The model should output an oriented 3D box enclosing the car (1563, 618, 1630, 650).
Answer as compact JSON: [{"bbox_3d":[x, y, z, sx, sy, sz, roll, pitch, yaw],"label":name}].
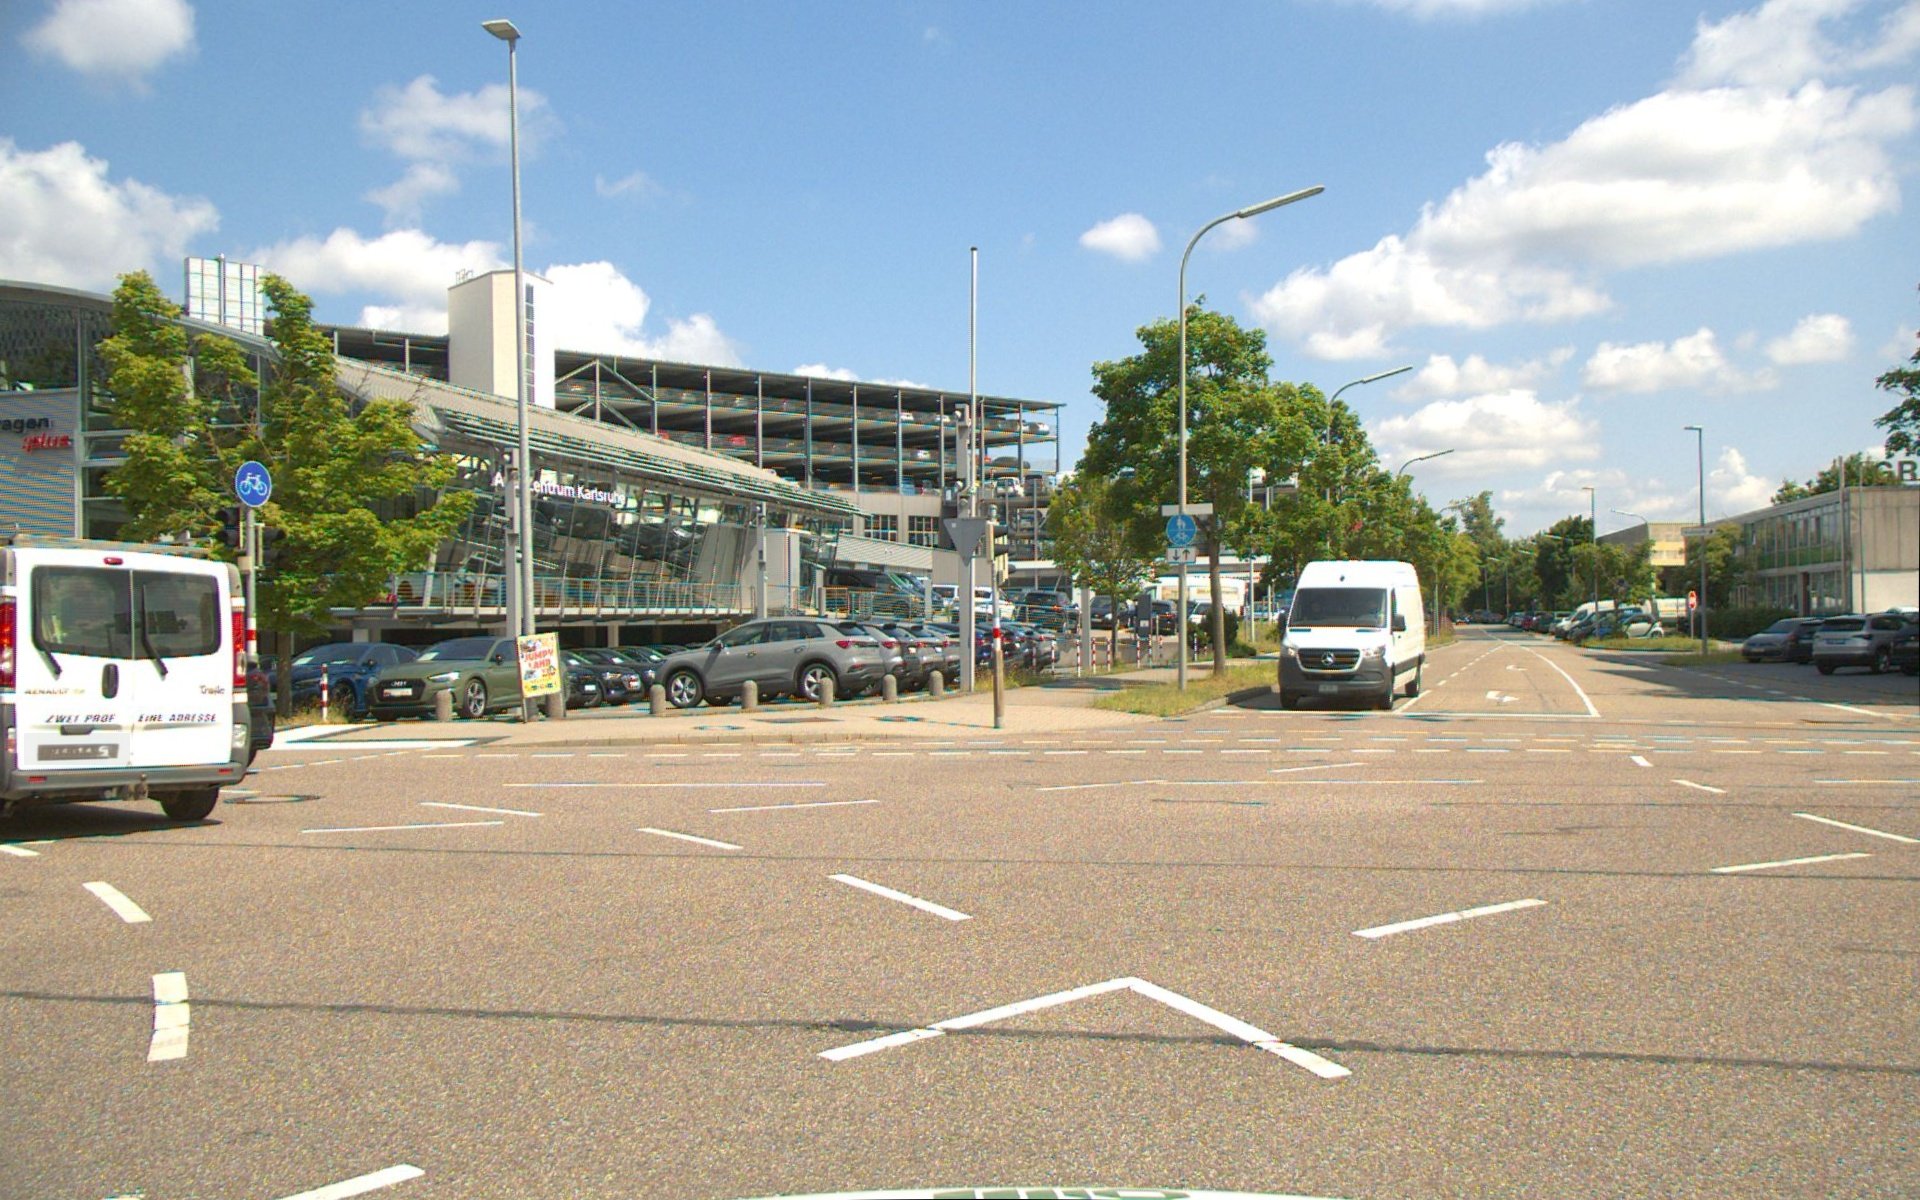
[{"bbox_3d":[42.767,2.260,111.250,3.902,2.049,2.002,1,-1,10],"label":"car"}]

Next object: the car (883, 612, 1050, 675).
[{"bbox_3d":[0.201,1.253,47.905,4.477,1.707,1.908,1,-1,15],"label":"car"}]

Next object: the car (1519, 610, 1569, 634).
[{"bbox_3d":[51.827,1.968,146.857,3.902,2.049,2.002,1,-1,10],"label":"car"}]

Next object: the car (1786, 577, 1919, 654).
[{"bbox_3d":[25.061,0.437,45.370,3.902,2.049,2.002,1,-1,10],"label":"car"}]

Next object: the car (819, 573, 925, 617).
[{"bbox_3d":[-3.883,-0.215,73.107,4.346,1.833,1.766,1,-1,12],"label":"car"}]

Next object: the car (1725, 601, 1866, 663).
[{"bbox_3d":[28.632,1.099,56.811,3.902,2.049,2.002,1,-1,10],"label":"car"}]

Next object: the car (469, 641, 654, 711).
[{"bbox_3d":[-10.803,2.031,45.012,4.441,1.771,2.002,1,-1,11],"label":"car"}]

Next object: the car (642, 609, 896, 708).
[{"bbox_3d":[-3.702,1.142,32.211,4.477,1.707,1.908,-3,-2,15],"label":"car"}]

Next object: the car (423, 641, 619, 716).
[{"bbox_3d":[-11.278,1.996,42.605,4.441,1.771,2.002,1,-1,12],"label":"car"}]

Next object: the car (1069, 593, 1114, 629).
[{"bbox_3d":[6.034,0.523,75.524,1.527,1.579,3.605,1,-1,13],"label":"car"}]

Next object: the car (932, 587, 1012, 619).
[{"bbox_3d":[0.633,0.158,84.603,3.902,1.579,1.766,1,-1,6],"label":"car"}]

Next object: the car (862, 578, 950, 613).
[{"bbox_3d":[-2.532,-0.223,78.074,3.902,1.579,1.766,1,-1,6],"label":"car"}]

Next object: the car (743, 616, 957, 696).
[{"bbox_3d":[-2.491,1.245,37.714,4.477,1.707,1.908,1,-1,15],"label":"car"}]

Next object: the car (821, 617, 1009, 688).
[{"bbox_3d":[-1.146,1.343,42.746,4.477,1.707,1.908,1,-1,15],"label":"car"}]

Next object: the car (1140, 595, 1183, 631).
[{"bbox_3d":[9.043,0.593,74.064,1.527,1.579,3.605,1,-1,13],"label":"car"}]

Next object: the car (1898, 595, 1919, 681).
[{"bbox_3d":[24.882,0.933,39.461,3.902,2.049,2.002,1,-1,10],"label":"car"}]

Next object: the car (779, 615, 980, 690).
[{"bbox_3d":[-1.939,1.245,40.158,4.477,1.707,1.908,1,-1,15],"label":"car"}]

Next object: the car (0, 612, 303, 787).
[{"bbox_3d":[-9.008,0.961,17.385,3.909,1.658,1.777,0,-1,27],"label":"car"}]

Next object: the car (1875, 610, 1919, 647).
[{"bbox_3d":[46.297,1.398,80.562,1.951,1.713,4.003,1,-1,13],"label":"car"}]

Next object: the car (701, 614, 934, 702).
[{"bbox_3d":[-2.973,1.193,34.776,4.477,1.707,1.908,1,-1,15],"label":"car"}]

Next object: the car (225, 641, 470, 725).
[{"bbox_3d":[-10.821,1.431,29.632,1.860,1.320,4.593,1,-1,13],"label":"car"}]

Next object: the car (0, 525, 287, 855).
[{"bbox_3d":[-7.233,0.588,12.680,4.479,2.096,1.969,0,-1,40],"label":"car"}]

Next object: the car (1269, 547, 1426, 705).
[{"bbox_3d":[7.501,0.491,31.422,2.088,2.653,6.864,0,-1,20],"label":"car"}]

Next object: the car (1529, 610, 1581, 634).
[{"bbox_3d":[51.413,1.906,142.984,3.902,2.049,2.002,1,-1,10],"label":"car"}]

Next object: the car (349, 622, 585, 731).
[{"bbox_3d":[-8.418,1.259,28.748,1.860,1.707,4.593,1,-1,13],"label":"car"}]

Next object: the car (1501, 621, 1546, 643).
[{"bbox_3d":[55.306,3.121,162.360,3.902,2.049,2.002,1,-1,10],"label":"car"}]

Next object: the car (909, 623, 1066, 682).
[{"bbox_3d":[0.852,1.594,50.734,4.477,1.707,1.908,1,-1,15],"label":"car"}]

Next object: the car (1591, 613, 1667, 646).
[{"bbox_3d":[38.434,1.701,95.127,3.903,1.780,2.001,1,-1,18],"label":"car"}]

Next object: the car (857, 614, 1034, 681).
[{"bbox_3d":[-0.382,1.281,45.374,4.477,1.707,1.908,1,-1,15],"label":"car"}]

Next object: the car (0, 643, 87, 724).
[{"bbox_3d":[-18.525,1.558,30.824,1.752,1.490,4.002,-1,-4,13],"label":"car"}]

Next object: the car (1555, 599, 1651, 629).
[{"bbox_3d":[46.063,1.016,118.642,6.206,2.049,2.574,1,-1,16],"label":"car"}]

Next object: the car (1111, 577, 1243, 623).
[{"bbox_3d":[10.684,0.002,81.339,6.251,2.139,1.766,1,-1,13],"label":"car"}]
